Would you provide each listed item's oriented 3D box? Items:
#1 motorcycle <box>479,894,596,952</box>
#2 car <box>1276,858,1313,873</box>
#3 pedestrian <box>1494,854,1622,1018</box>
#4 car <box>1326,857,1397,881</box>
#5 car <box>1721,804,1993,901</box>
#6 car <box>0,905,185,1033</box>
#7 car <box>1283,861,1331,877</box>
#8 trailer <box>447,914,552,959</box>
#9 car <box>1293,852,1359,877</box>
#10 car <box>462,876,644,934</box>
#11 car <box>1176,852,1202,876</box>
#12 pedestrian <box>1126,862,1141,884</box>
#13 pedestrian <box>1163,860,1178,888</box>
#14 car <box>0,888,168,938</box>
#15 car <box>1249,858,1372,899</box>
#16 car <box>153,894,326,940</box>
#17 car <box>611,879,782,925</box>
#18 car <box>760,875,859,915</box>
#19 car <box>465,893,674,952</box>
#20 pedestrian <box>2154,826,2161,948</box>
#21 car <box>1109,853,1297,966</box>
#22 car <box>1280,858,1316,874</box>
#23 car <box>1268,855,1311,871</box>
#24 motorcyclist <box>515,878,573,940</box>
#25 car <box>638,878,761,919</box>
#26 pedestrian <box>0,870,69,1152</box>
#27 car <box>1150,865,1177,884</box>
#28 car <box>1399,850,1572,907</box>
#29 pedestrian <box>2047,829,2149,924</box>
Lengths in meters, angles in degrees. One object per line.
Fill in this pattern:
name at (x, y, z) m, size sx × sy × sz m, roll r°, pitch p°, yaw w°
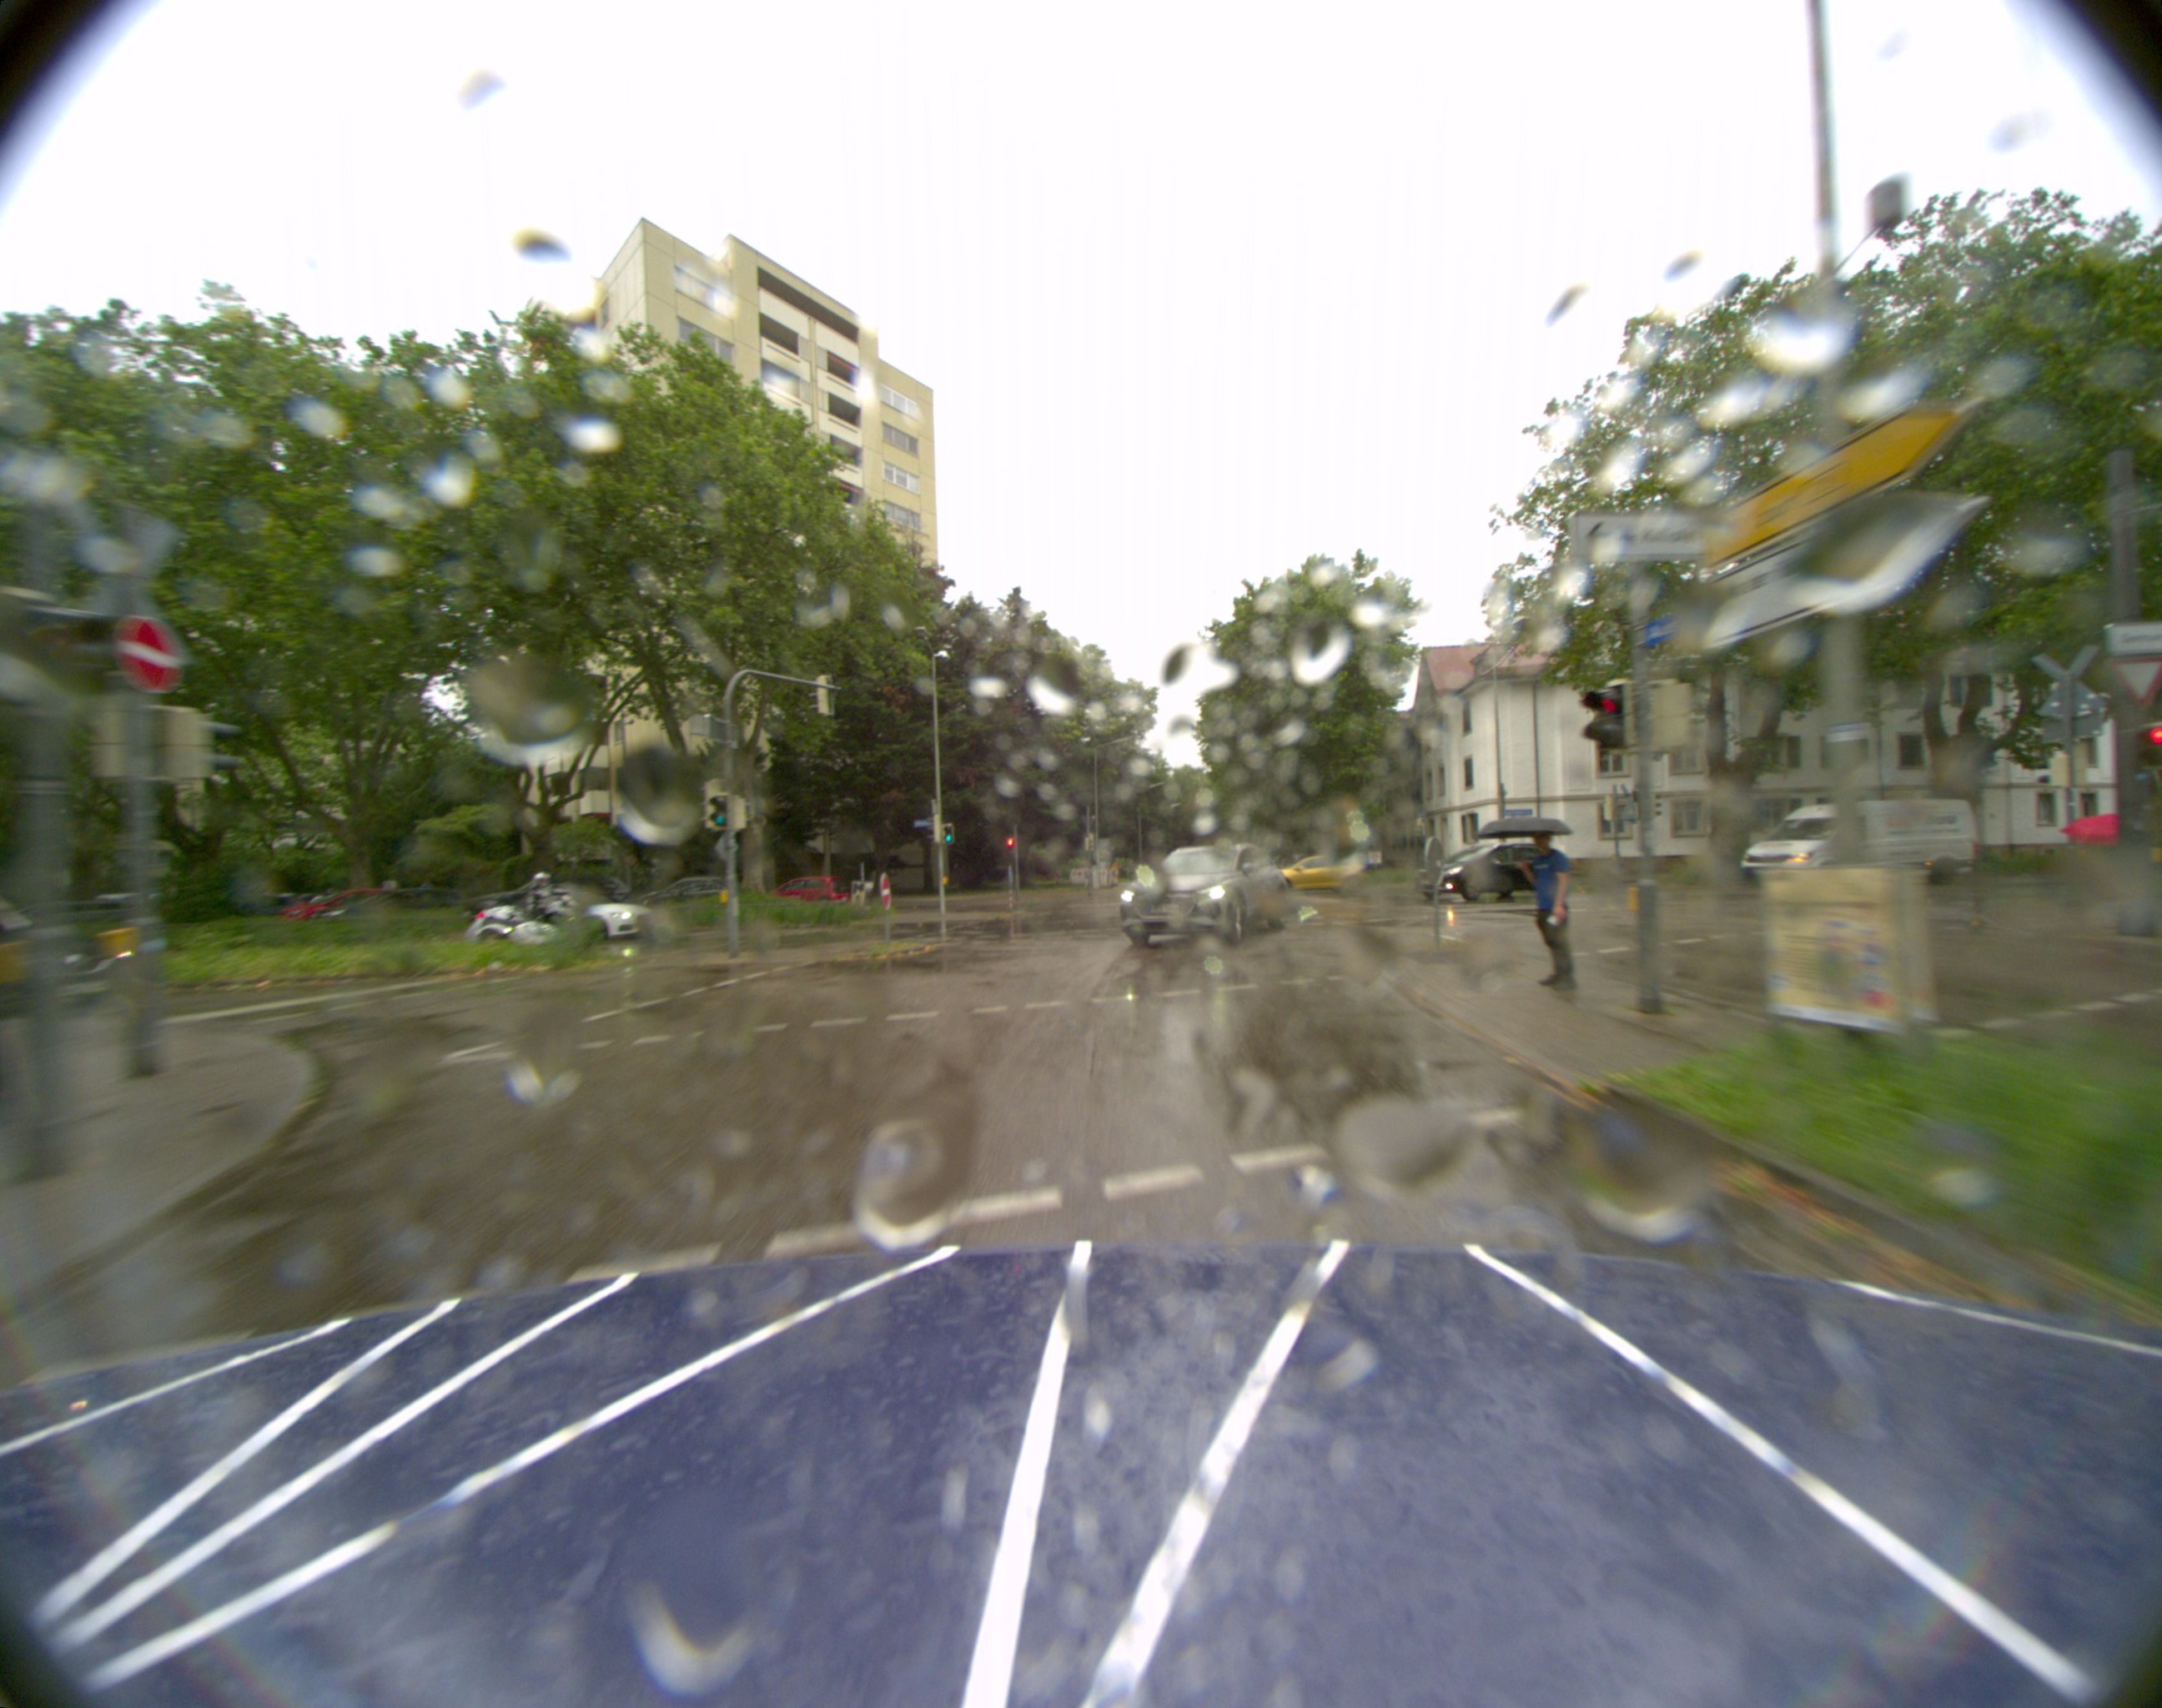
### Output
motorcycle at (-12.496, 1.583, 17.495) m, size 2.072 × 1.207 × 0.882 m, roll -2°, pitch -1°, yaw 4°
car at (25.031, 1.389, 89.185) m, size 4.105 × 1.680 × 1.830 m, roll -1°, pitch -1°, yaw 11°
pedestrian at (4.815, 0.797, 7.708) m, size 0.863 × 1.572 × 0.642 m, roll -1°, pitch 0°, yaw -6°
car at (18.228, 0.998, 49.569) m, size 3.995 × 1.346 × 1.798 m, roll -3°, pitch -1°, yaw 7°
car at (23.318, -0.049, 22.950) m, size 6.511 × 2.547 × 2.283 m, roll -2°, pitch -1°, yaw -8°
car at (-15.160, 1.517, 10.094) m, size 4.174 × 1.452 × 1.995 m, roll -2°, pitch -1°, yaw 1°
car at (23.281, 1.535, 78.511) m, size 4.522 × 1.561 × 2.035 m, roll -1°, pitch -1°, yaw 11°
trailer at (-12.582, 1.770, 16.490) m, size 1.481 × 0.837 × 1.028 m, roll -2°, pitch -1°, yaw 5°
car at (18.891, 0.800, 58.807) m, size 4.664 × 1.862 × 2.035 m, roll -1°, pitch -1°, yaw 11°
car at (-17.657, 1.654, 25.648) m, size 1.870 × 1.654 × 4.612 m, roll -3°, pitch -1°, yaw 34°
car at (11.636, 1.047, 81.532) m, size 2.399 × 2.460 × 5.698 m, roll -1°, pitch -1°, yaw 12°
pedestrian at (4.093, 1.493, 59.314) m, size 0.942 × 1.650 × 0.930 m, roll -1°, pitch -1°, yaw 14°
pedestrian at (6.604, 1.478, 55.945) m, size 0.942 × 2.050 × 1.082 m, roll -1°, pitch -1°, yaw 14°
car at (-39.421, 2.270, 30.050) m, size 1.995 × 1.645 × 4.008 m, roll -2°, pitch -1°, yaw 34°
car at (8.634, 0.897, 28.813) m, size 3.998 × 1.359 × 2.000 m, roll -2°, pitch -1°, yaw -2°
car at (-30.979, 2.258, 28.121) m, size 1.881 × 1.413 × 3.849 m, roll -1°, pitch -1°, yaw 22°
car at (-14.905, 1.848, 29.674) m, size 5.526 × 1.509 × 2.259 m, roll -2°, pitch -1°, yaw 4°
car at (-11.598, 1.735, 32.581) m, size 3.456 × 1.515 × 1.843 m, roll -2°, pitch -1°, yaw 6°
car at (-13.381, 1.775, 20.080) m, size 4.169 × 1.267 × 1.903 m, roll -2°, pitch -1°, yaw -1°
pedestrian at (15.324, 0.444, 10.184) m, size 0.850 × 1.678 × 0.859 m, roll -1°, pitch -1°, yaw -19°
car at (2.292, 0.835, 13.298) m, size 1.805 × 1.611 × 4.145 m, roll -2°, pitch 0°, yaw 31°
car at (24.748, 1.379, 86.798) m, size 3.716 × 1.680 × 1.940 m, roll -1°, pitch -1°, yaw 11°
car at (26.247, 1.135, 95.806) m, size 5.082 × 2.011 × 2.035 m, roll -1°, pitch -1°, yaw 11°
motorcyclist at (-12.358, 1.253, 17.501) m, size 0.754 × 1.343 × 0.758 m, roll -2°, pitch -1°, yaw 4°
car at (-16.615, 1.925, 33.158) m, size 4.449 × 1.598 × 1.942 m, roll -2°, pitch -1°, yaw 9°
pedestrian at (-7.329, 0.997, 4.771) m, size 0.993 × 1.770 × 0.813 m, roll -1°, pitch 0°, yaw 11°
car at (7.226, 1.757, 66.059) m, size 1.819 × 1.451 × 4.277 m, roll -2°, pitch -1°, yaw 12°
car at (11.268, 0.664, 21.298) m, size 4.001 × 1.435 × 1.853 m, roll -1°, pitch -1°, yaw -12°
pedestrian at (18.505, 0.397, 13.834) m, size 0.861 × 1.678 × 0.848 m, roll -1°, pitch -1°, yaw -17°
